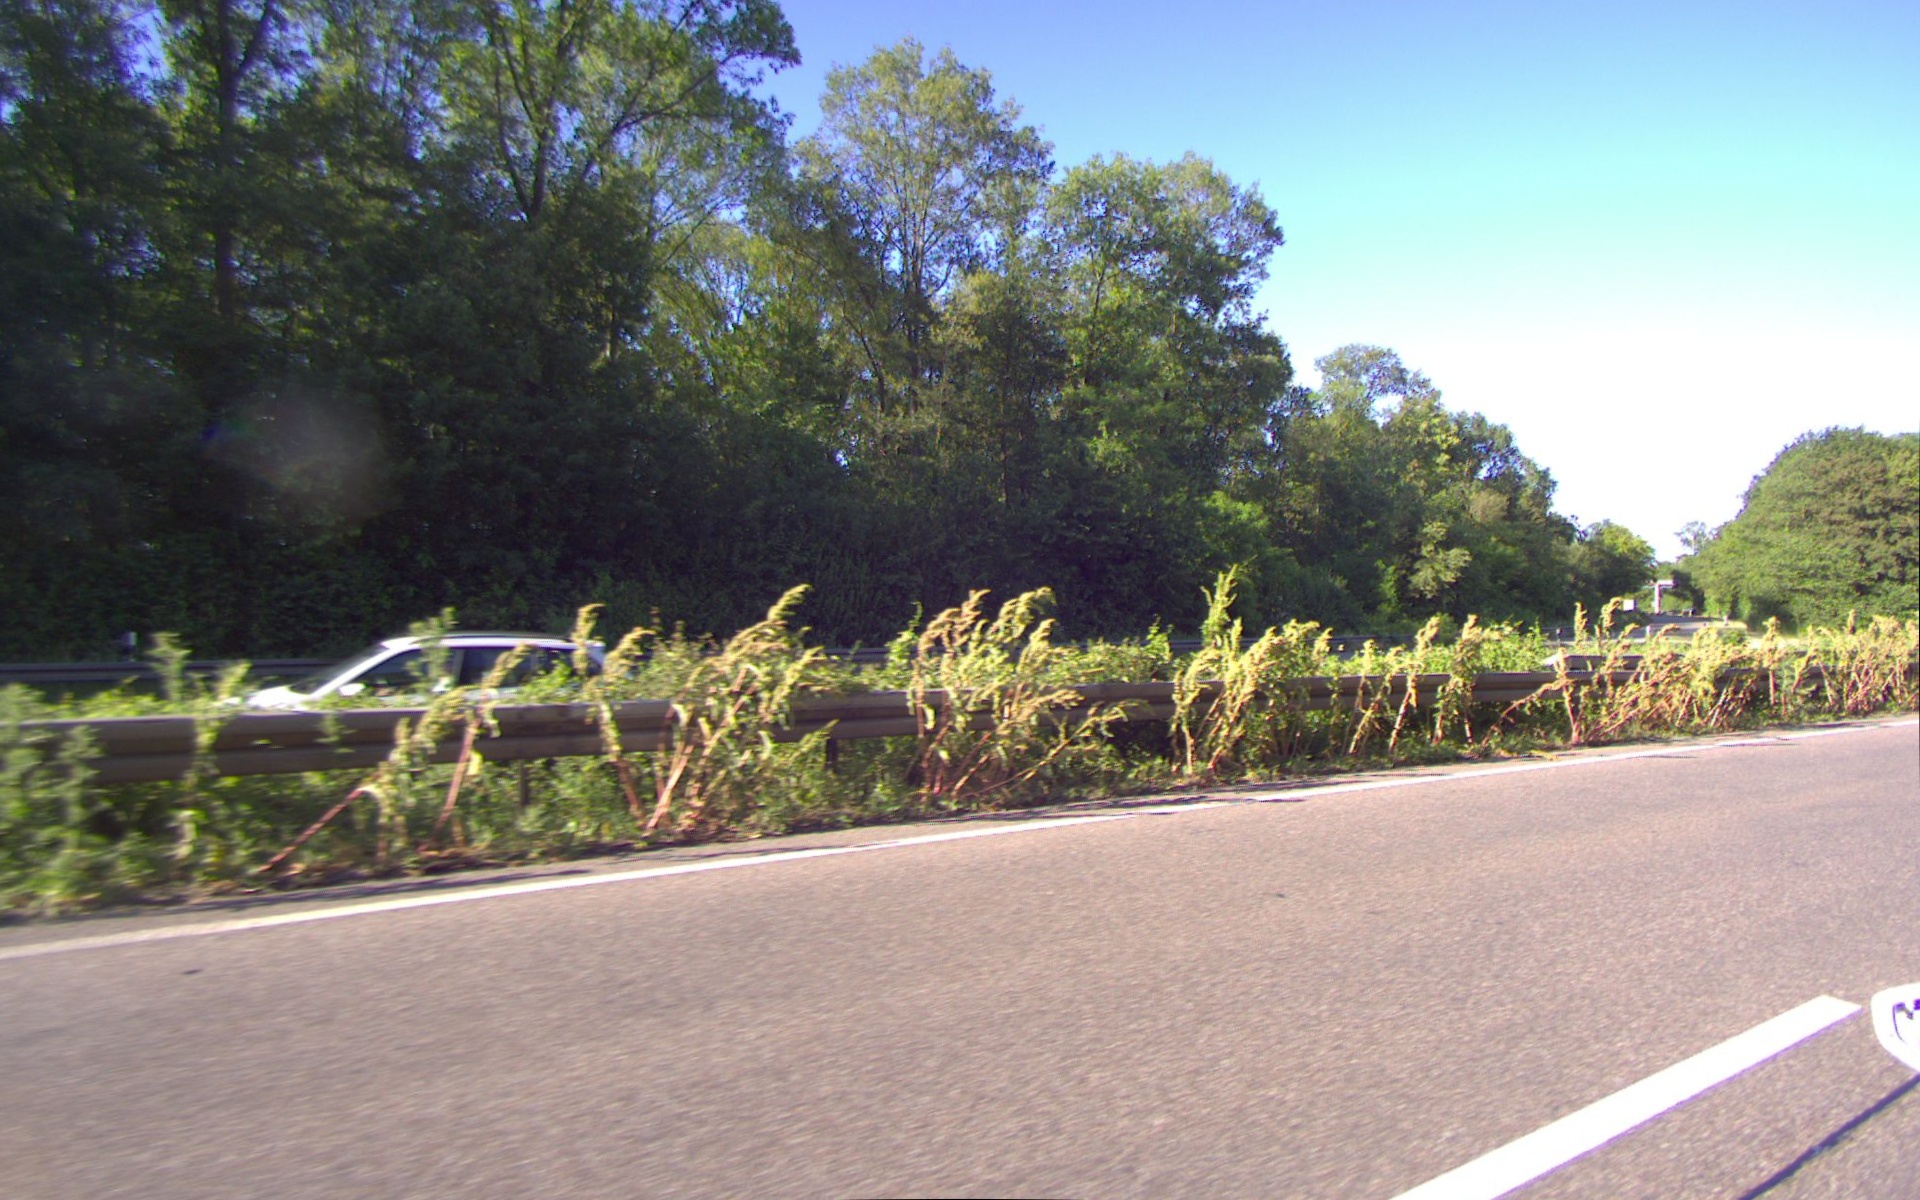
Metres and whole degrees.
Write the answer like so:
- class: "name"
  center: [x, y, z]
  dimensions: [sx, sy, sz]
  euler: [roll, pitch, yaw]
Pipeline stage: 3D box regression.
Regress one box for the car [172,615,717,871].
- class: "car"
  center: [-4.973, 1.181, 10.166]
  dimensions: [4.484, 2.040, 2.073]
  euler: [0, 0, -32]
